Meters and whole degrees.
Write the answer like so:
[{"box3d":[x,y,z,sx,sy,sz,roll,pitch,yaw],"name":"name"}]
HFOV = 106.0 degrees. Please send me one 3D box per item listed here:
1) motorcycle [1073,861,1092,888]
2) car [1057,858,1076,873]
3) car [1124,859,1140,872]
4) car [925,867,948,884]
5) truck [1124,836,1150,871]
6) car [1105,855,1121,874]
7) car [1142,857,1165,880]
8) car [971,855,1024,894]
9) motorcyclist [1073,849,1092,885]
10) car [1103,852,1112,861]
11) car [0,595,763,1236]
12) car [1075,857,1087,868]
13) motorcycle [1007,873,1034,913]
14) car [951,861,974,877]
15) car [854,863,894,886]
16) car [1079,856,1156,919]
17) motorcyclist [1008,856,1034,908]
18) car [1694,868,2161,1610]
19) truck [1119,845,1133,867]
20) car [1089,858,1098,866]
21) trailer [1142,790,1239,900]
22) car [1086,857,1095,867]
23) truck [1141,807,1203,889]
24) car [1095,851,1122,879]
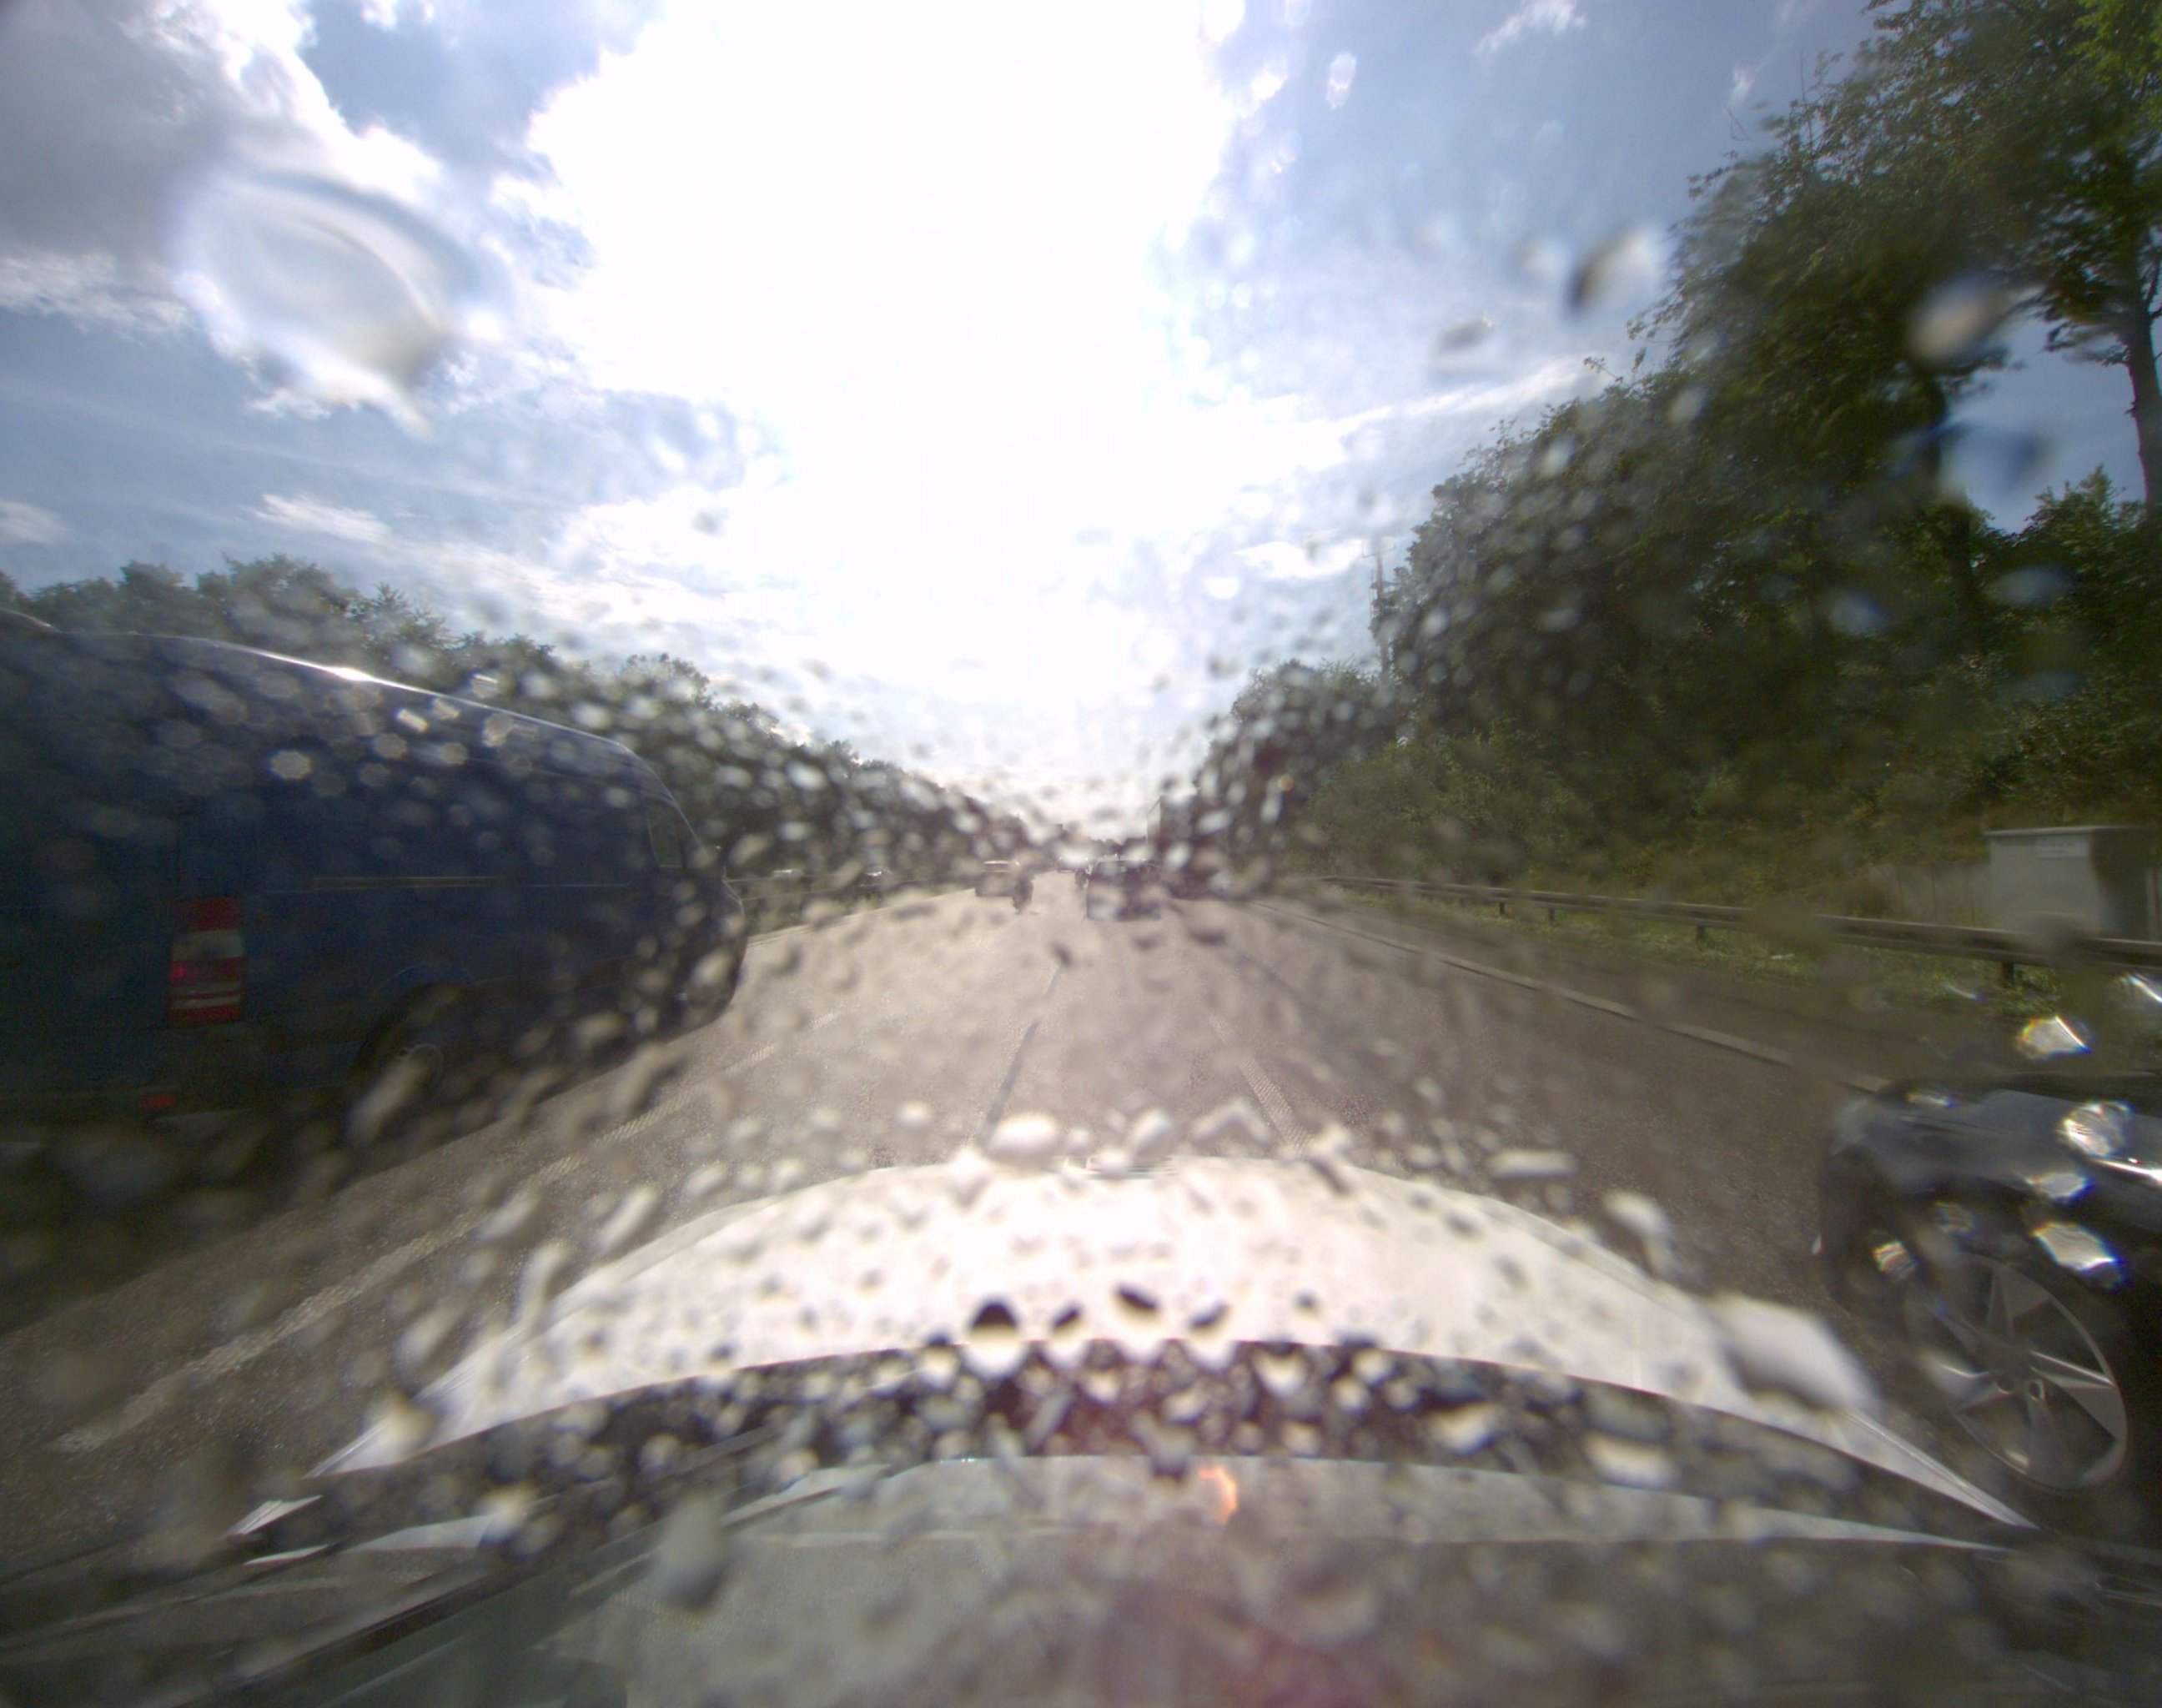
[{"box3d":[0.074,1.005,40.743,0.816,1.263,2.119,-1,0,3],"name":"motorcycle"},{"box3d":[-1.632,1.305,91.092,1.886,1.628,4.196,-1,0,1],"name":"car"},{"box3d":[5.824,1.314,93.327,1.669,1.490,3.437,-1,0,1],"name":"car"},{"box3d":[-17.830,2.667,100.606,1.986,2.013,4.002,-1,0,2],"name":"car"},{"box3d":[7.586,-0.039,110.627,3.189,4.404,9.437,-1,-1,2],"name":"truck"},{"box3d":[3.379,1.115,85.961,1.669,1.936,3.774,-1,-1,1],"name":"car"},{"box3d":[6.537,1.281,73.964,1.842,2.014,4.089,-1,-1,2],"name":"car"},{"box3d":[-3.620,0.858,36.117,1.752,1.594,4.332,-1,0,2],"name":"car"},{"box3d":[0.075,0.655,40.722,0.818,1.761,1.391,-1,-1,3],"name":"motorcyclist"},{"box3d":[4.621,0.461,141.465,1.626,1.490,3.437,-1,0,1],"name":"car"},{"box3d":[-4.671,0.278,6.275,2.008,2.648,5.778,-1,0,2],"name":"car"},{"box3d":[-0.013,1.238,124.128,1.669,1.597,3.437,-1,0,1],"name":"car"},{"box3d":[-1.716,1.097,23.435,0.674,1.087,1.981,0,0,-1],"name":"motorcycle"},{"box3d":[-14.314,1.779,98.296,1.917,1.911,4.291,-2,0,2],"name":"car"},{"box3d":[-15.722,1.562,62.041,1.915,1.580,4.001,-2,0,1],"name":"car"},{"box3d":[0.976,0.863,22.669,1.908,1.565,4.315,-1,0,1],"name":"car"},{"box3d":[-1.719,0.796,23.397,0.668,1.442,1.019,-1,-1,-1],"name":"motorcyclist"},{"box3d":[2.920,0.741,0.586,1.748,1.396,4.369,-1,0,2],"name":"car"},{"box3d":[10.207,0.518,184.483,2.871,4.688,12.663,-1,-1,2],"name":"truck"},{"box3d":[2.984,1.940,196.061,1.986,2.014,4.001,-1,-1,1],"name":"car"},{"box3d":[4.820,-0.304,39.041,3.077,4.312,14.109,-1,0,2],"name":"trailer"},{"box3d":[2.041,1.725,175.192,1.986,2.014,4.001,-1,-1,1],"name":"car"},{"box3d":[5.034,-0.259,46.201,3.040,4.325,5.889,-1,-1,2],"name":"truck"},{"box3d":[2.085,0.840,62.685,1.986,2.014,4.001,-1,-1,1],"name":"car"}]
